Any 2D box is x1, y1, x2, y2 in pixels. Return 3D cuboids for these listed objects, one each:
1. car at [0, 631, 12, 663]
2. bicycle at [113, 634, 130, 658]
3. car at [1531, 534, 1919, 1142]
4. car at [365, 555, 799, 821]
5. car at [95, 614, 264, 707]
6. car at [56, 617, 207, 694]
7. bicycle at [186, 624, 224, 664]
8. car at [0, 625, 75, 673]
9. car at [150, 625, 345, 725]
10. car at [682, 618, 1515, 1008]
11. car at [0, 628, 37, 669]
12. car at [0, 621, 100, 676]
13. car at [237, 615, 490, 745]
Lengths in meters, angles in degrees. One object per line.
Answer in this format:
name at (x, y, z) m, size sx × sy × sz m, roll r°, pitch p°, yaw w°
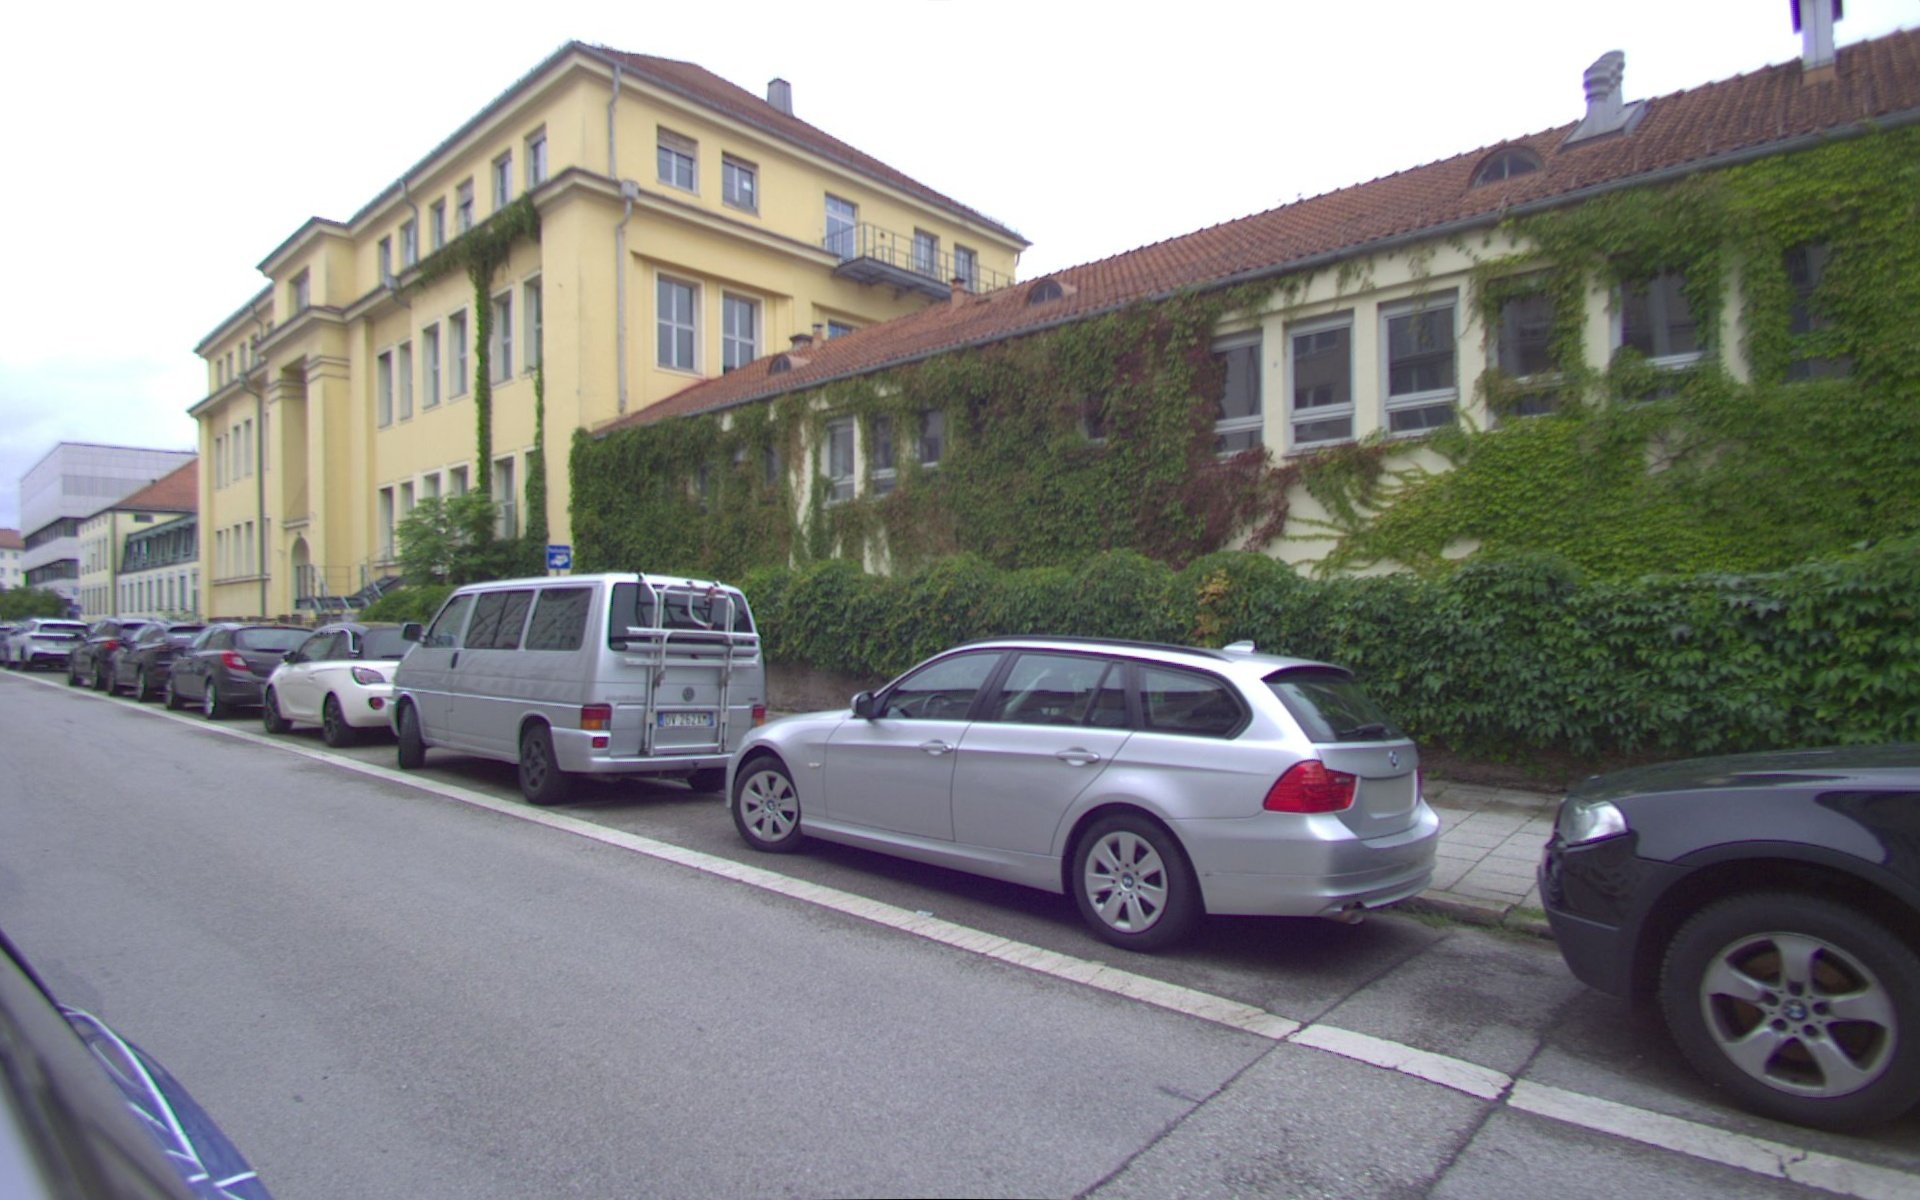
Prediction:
car at (-46.320, 2.165, 47.705) m, size 4.661 × 1.440 × 1.775 m, roll -1°, pitch -4°, yaw 40°
bicycle at (-39.285, 2.142, 47.424) m, size 0.530 × 1.071 × 1.643 m, roll 0°, pitch -1°, yaw -38°
car at (4.155, 0.681, 2.571) m, size 4.487 × 1.655 × 1.679 m, roll -1°, pitch -4°, yaw 41°
car at (-3.776, 0.705, 9.581) m, size 4.774 × 1.904 × 1.866 m, roll -1°, pitch -4°, yaw 43°
car at (-15.498, 1.134, 20.009) m, size 4.463 × 1.642 × 1.706 m, roll -1°, pitch -3°, yaw 40°
car at (-19.162, 1.238, 23.332) m, size 4.814 × 1.599 × 1.771 m, roll -1°, pitch -4°, yaw 40°
bicycle at (-26.109, 1.503, 34.997) m, size 2.113 × 1.338 × 0.673 m, roll -1°, pitch -1°, yaw 42°
car at (-32.928, 1.721, 35.813) m, size 4.492 × 1.514 × 1.686 m, roll -1°, pitch -6°, yaw 41°
car at (-11.804, 1.165, 16.664) m, size 4.249 × 1.441 × 1.587 m, roll -1°, pitch -4°, yaw 41°
car at (0.416, 0.864, 5.958) m, size 4.770 × 1.425 × 1.635 m, roll -1°, pitch -4°, yaw 42°
car at (-36.975, 1.824, 38.945) m, size 4.148 × 1.508 × 1.681 m, roll -1°, pitch -5°, yaw 42°
car at (-29.283, 1.503, 32.446) m, size 4.851 × 1.646 × 1.728 m, roll -1°, pitch -2°, yaw 39°
car at (-7.866, 0.956, 13.194) m, size 4.016 × 1.452 × 1.575 m, roll -1°, pitch -3°, yaw 40°
